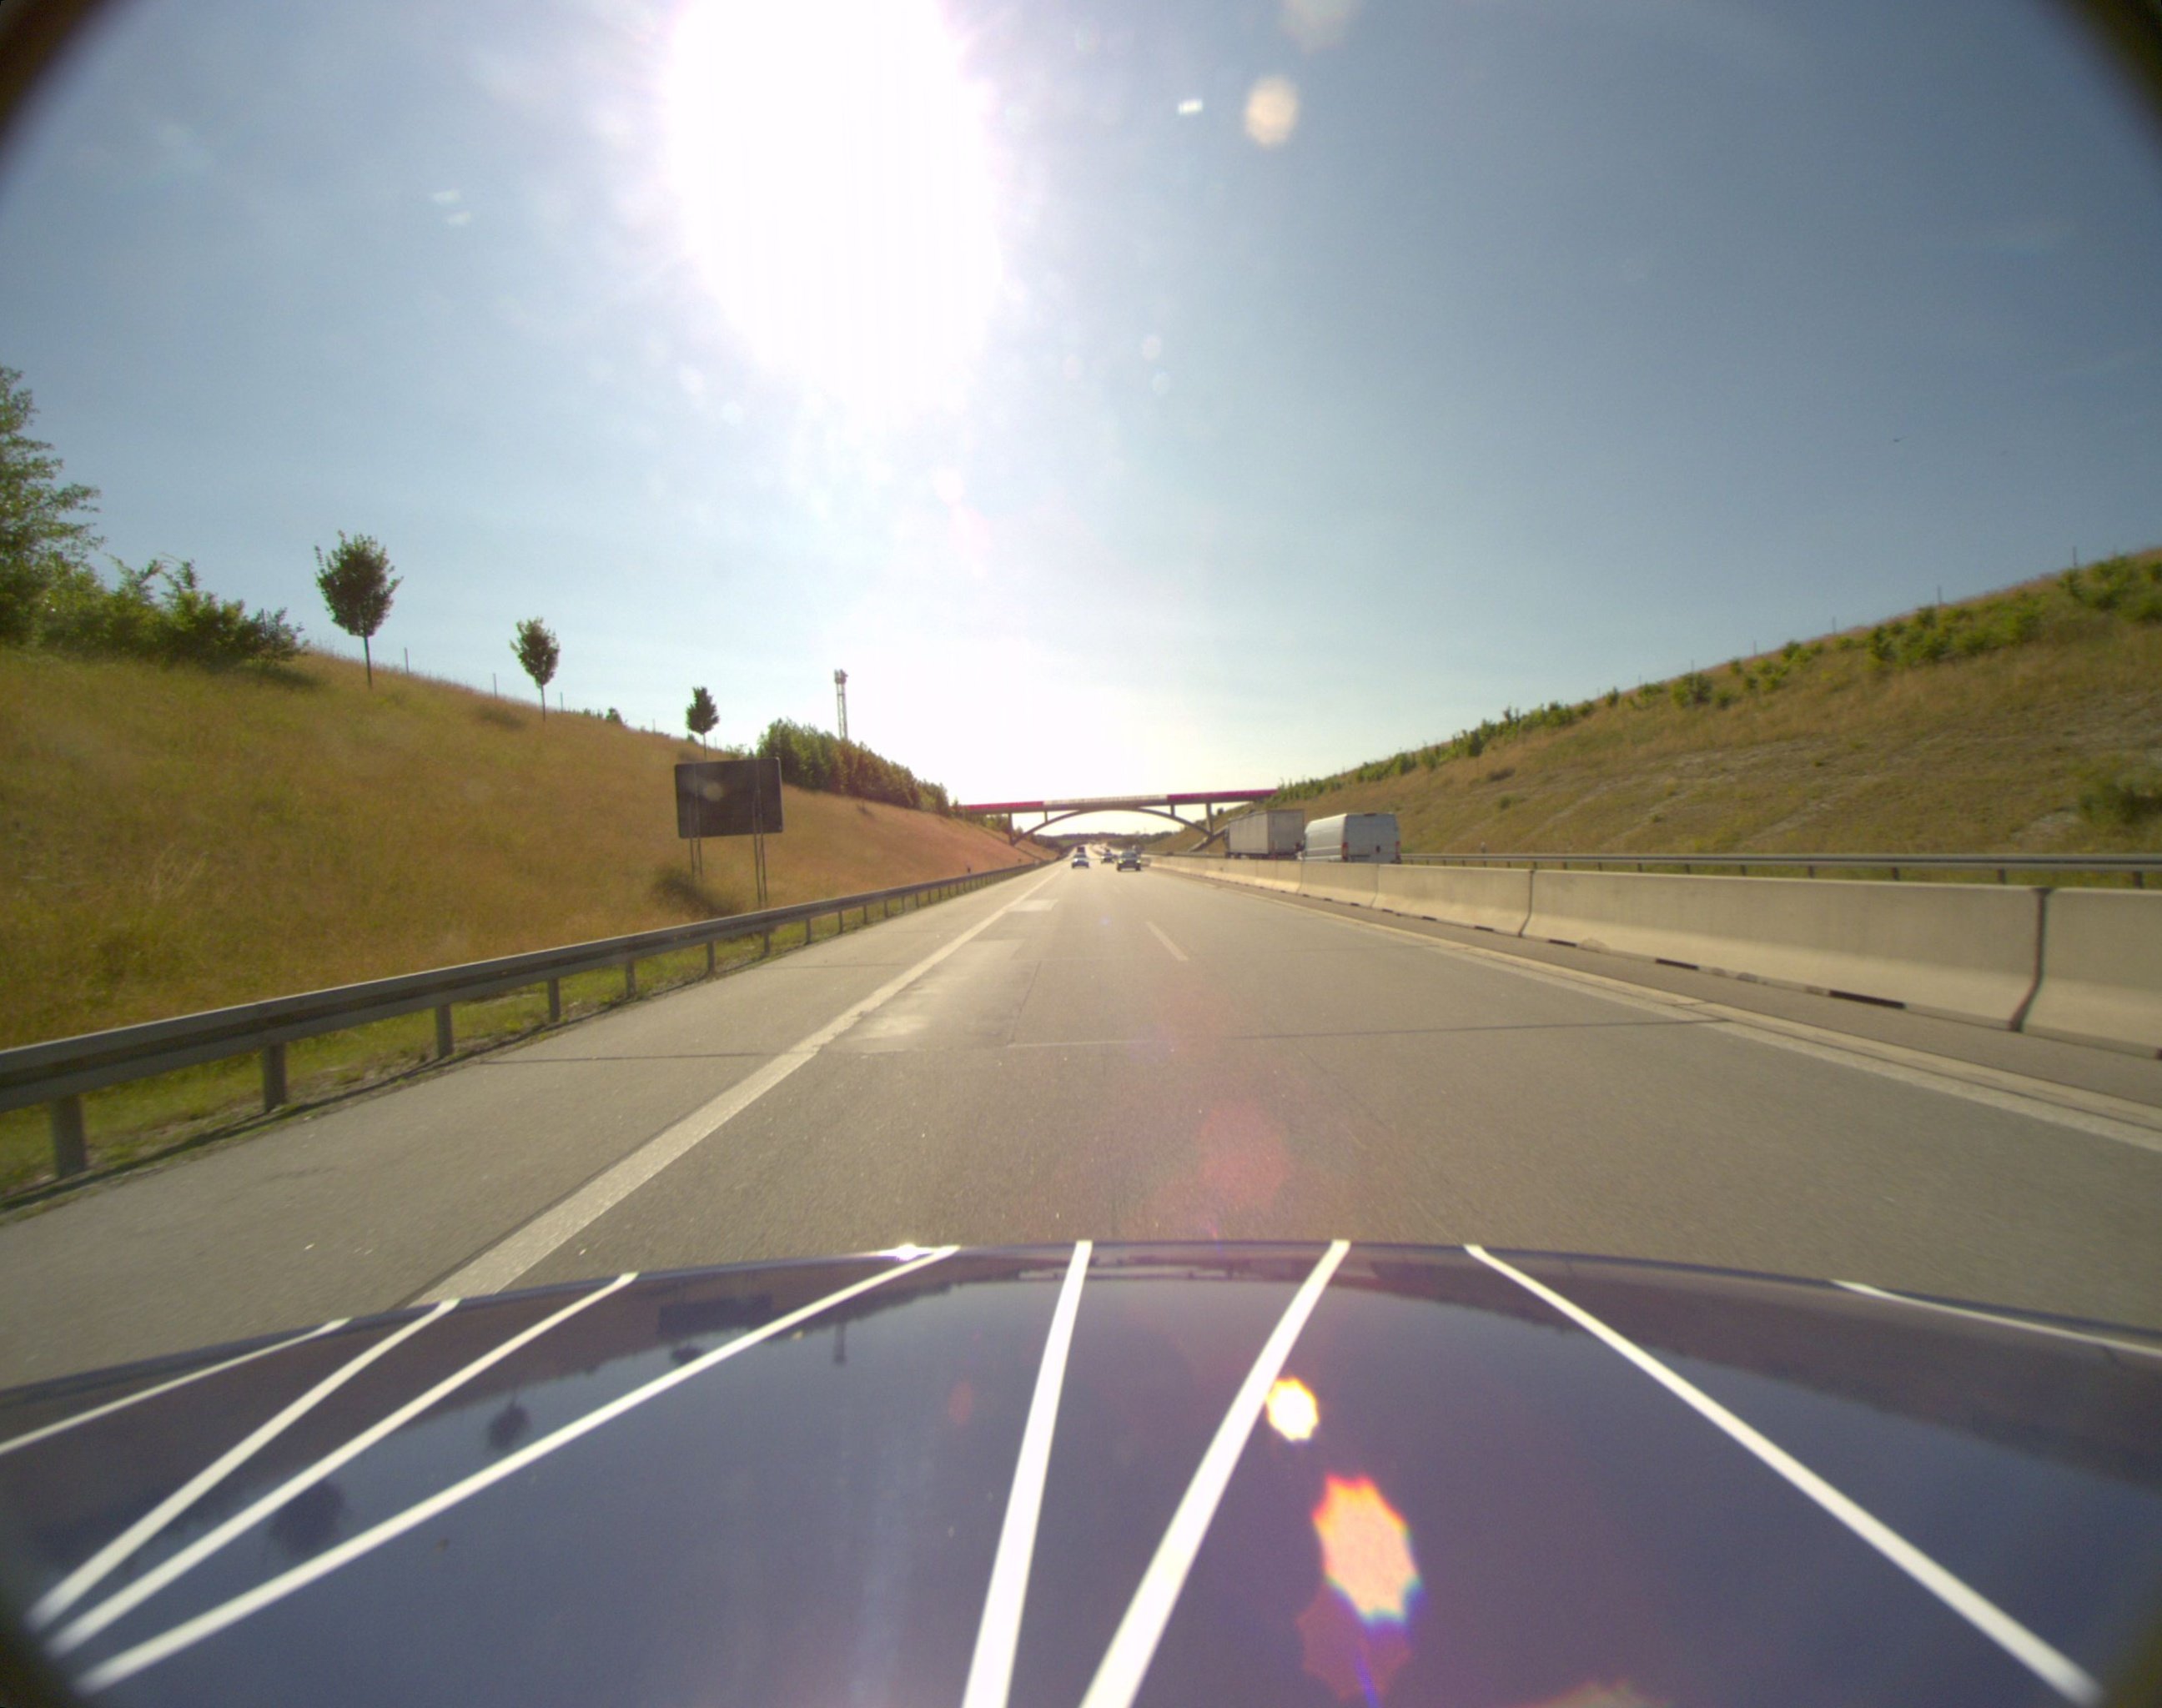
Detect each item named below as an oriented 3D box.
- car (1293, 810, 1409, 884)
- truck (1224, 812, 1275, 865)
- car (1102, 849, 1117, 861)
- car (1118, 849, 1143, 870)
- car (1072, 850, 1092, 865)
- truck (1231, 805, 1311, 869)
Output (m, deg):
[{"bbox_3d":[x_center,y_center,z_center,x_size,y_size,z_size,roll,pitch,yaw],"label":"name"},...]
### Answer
[{"bbox_3d":[10.026,-0.279,28.817,2.211,2.441,5.831,-2,1,0],"label":"car"},{"bbox_3d":[14.518,-1.328,65.916,3.023,4.284,5.968,-2,1,1],"label":"truck"},{"bbox_3d":[3.937,0.095,105.442,1.776,1.560,4.988,-2,1,1],"label":"car"},{"bbox_3d":[4.097,0.414,63.153,1.726,1.578,5.221,-2,1,1],"label":"car"},{"bbox_3d":[0.148,0.383,81.706,1.909,1.449,4.375,-2,1,2],"label":"car"},{"bbox_3d":[14.414,-1.246,58.927,3.023,4.284,12.733,-2,1,1],"label":"truck"}]
